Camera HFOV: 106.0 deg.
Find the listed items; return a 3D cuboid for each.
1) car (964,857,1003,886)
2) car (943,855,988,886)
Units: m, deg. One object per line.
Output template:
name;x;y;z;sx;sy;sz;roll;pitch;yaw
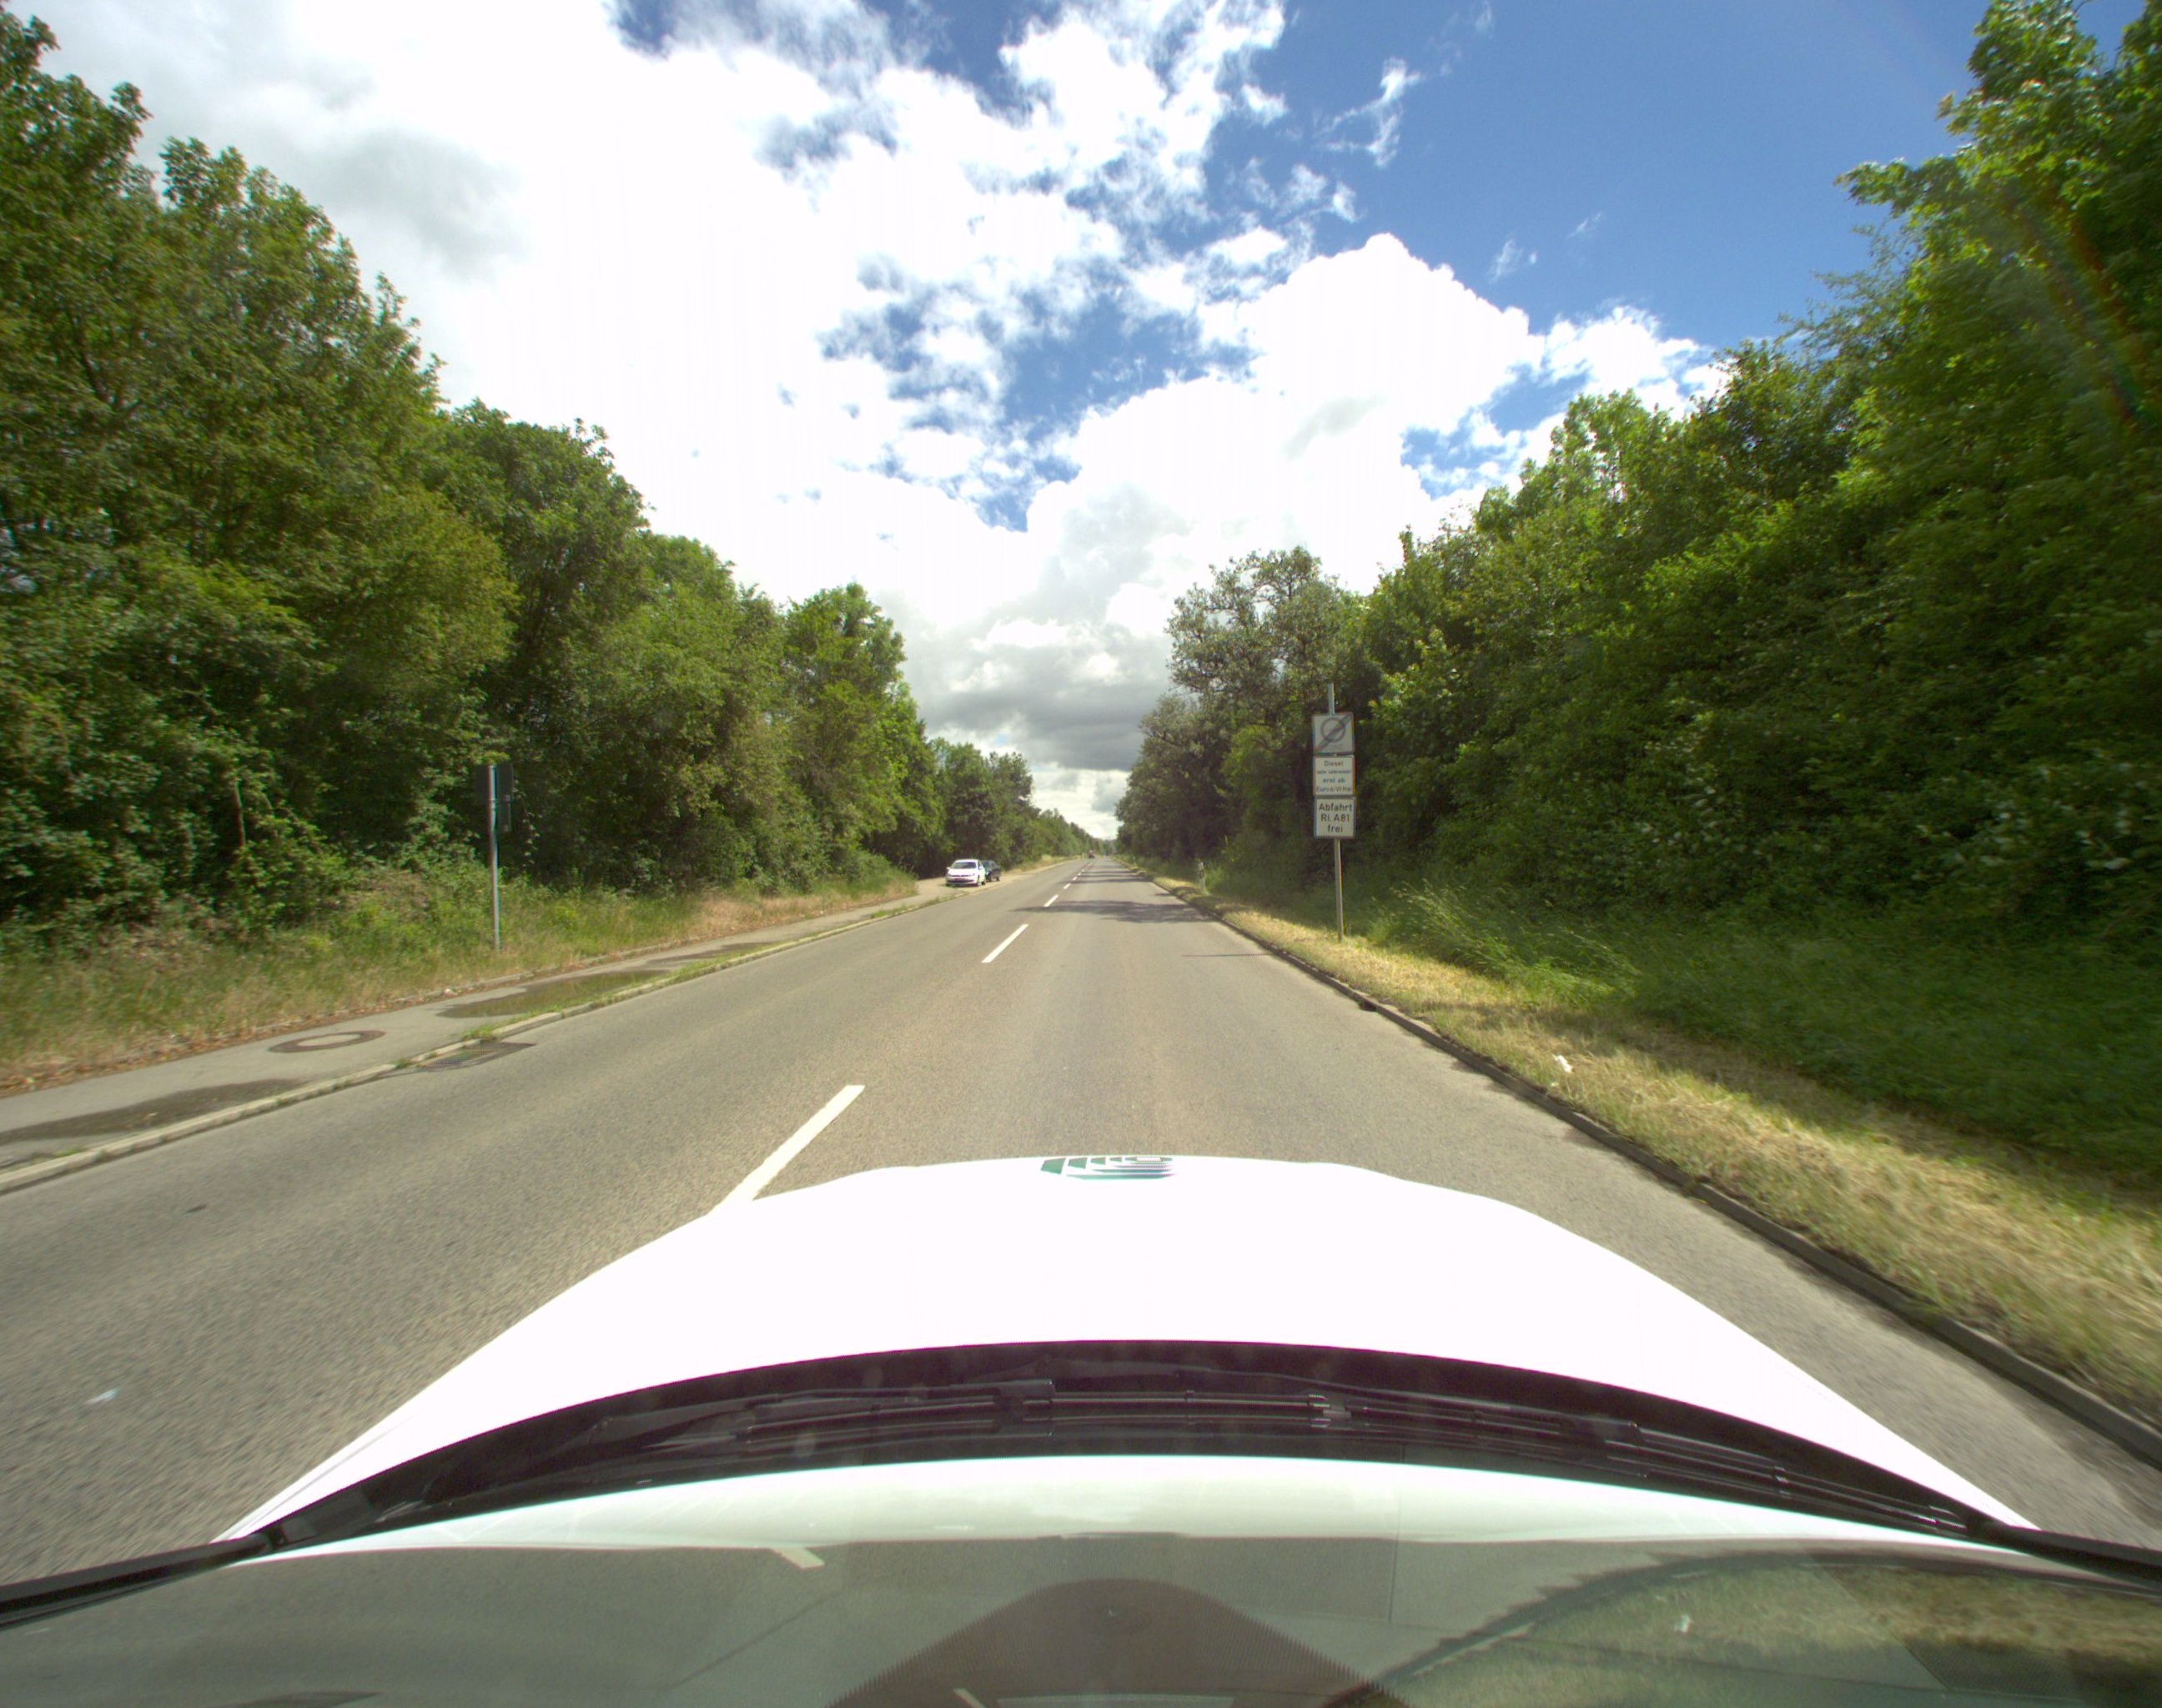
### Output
car;-6.268;1.101;52.674;1.791;1.625;3.958;-2;1;3
car;-6.365;0.905;45.167;1.791;1.543;3.956;-2;-1;1
